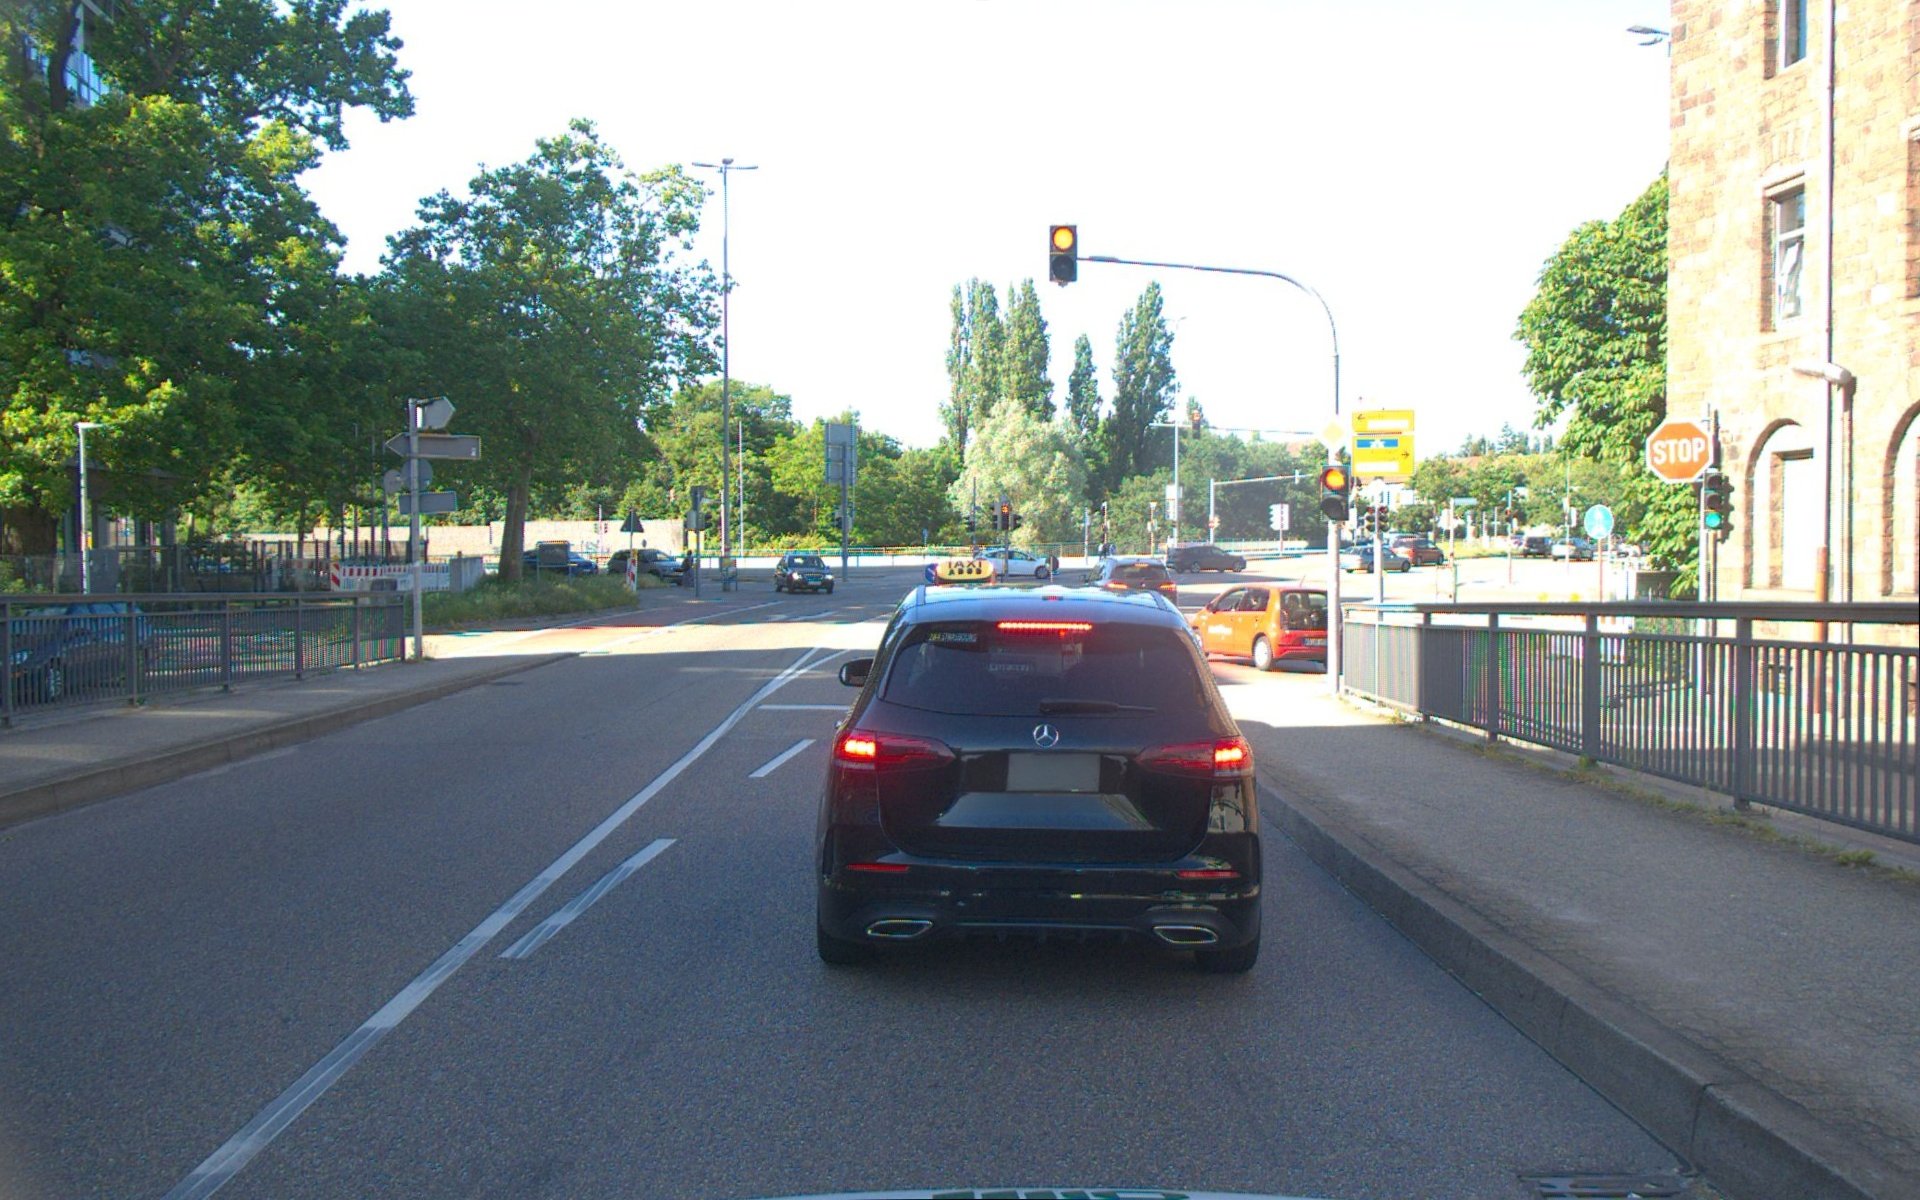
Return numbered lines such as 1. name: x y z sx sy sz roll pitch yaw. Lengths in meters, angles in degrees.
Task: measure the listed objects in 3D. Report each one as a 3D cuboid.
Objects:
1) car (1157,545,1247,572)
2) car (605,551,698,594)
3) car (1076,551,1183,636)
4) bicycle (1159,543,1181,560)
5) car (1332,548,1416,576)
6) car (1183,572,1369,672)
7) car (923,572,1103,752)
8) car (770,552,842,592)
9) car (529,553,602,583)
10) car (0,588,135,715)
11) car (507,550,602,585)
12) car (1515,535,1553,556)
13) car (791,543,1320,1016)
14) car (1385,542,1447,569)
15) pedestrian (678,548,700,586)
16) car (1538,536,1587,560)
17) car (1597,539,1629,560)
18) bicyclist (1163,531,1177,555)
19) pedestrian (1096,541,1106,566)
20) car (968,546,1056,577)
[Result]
1. car: 12.951 -2.242 88.581 4.523 1.317 1.871 -3 3 -26
2. car: -13.690 -1.251 73.406 3.919 1.651 1.804 5 4 34
3. car: 4.060 -0.209 40.285 1.688 1.843 4.293 1 3 -6
4. bicycle: 14.010 -3.251 110.319 0.517 1.068 1.980 0 2 39
5. car: 21.918 -2.032 87.570 4.548 1.317 1.973 -3 3 -38
6. car: 5.564 0.342 29.512 1.697 1.548 3.465 0 3 -21
7. car: 0.522 0.537 16.715 1.606 1.556 3.475 -1 2 1
8. car: -5.870 -1.089 62.707 1.716 1.431 4.177 -1 2 -20
9. car: -21.693 -1.772 90.931 3.923 1.574 1.882 1 0 38
10. car: -14.759 0.728 25.789 1.814 1.722 4.000 0 2 -1
11. car: -20.053 -1.629 81.762 4.303 1.619 1.921 1 3 26
12. car: 40.848 -3.905 117.646 1.749 1.381 4.070 0 3 31
13. car: 0.309 0.608 7.824 1.839 1.641 4.000 1 1 -1
14. car: 27.303 -2.650 98.909 1.962 1.480 4.532 1 3 38
15. pedestrian: -11.105 -1.360 67.831 0.690 1.552 0.744 1 1 10
16. car: 39.706 -3.425 108.928 1.959 1.466 4.809 0 3 34
17. car: 49.444 -3.841 125.202 1.954 1.466 4.293 0 3 25
18. bicyclist: 14.008 -3.772 110.296 0.517 1.578 0.803 0 2 40
19. pedestrian: 9.119 -3.008 107.028 0.443 1.613 0.499 0 2 40
20. car: 2.503 -1.890 80.555 4.212 1.389 2.000 -1 3 0
